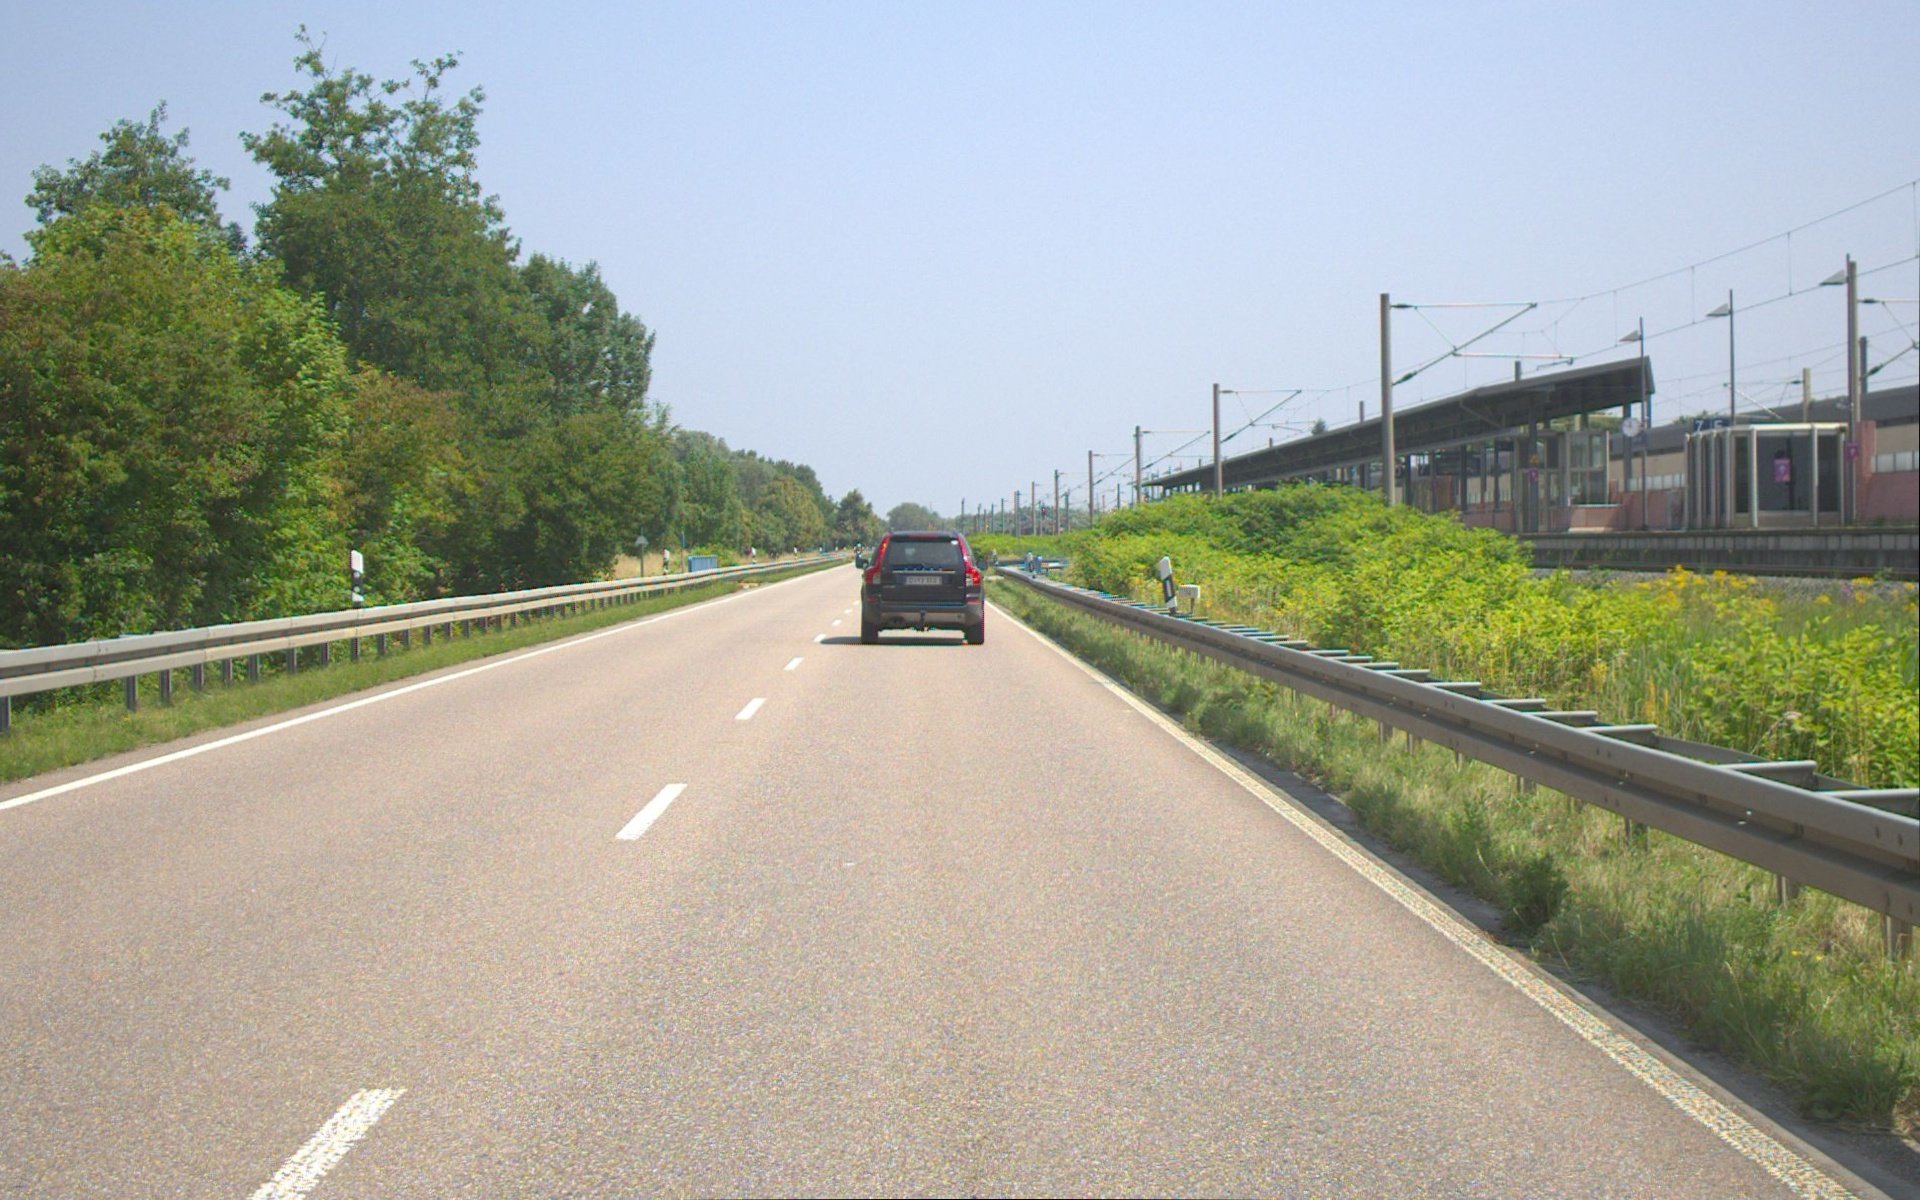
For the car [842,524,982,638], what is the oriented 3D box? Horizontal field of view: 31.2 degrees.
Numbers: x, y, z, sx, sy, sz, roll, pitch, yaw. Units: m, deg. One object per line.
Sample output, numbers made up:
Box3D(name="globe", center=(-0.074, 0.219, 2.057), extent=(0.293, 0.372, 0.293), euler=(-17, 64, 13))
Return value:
Box3D(name="car", center=(-0.774, -0.314, 52.919), extent=(1.993, 1.694, 4.001), euler=(0, 1, -3))
